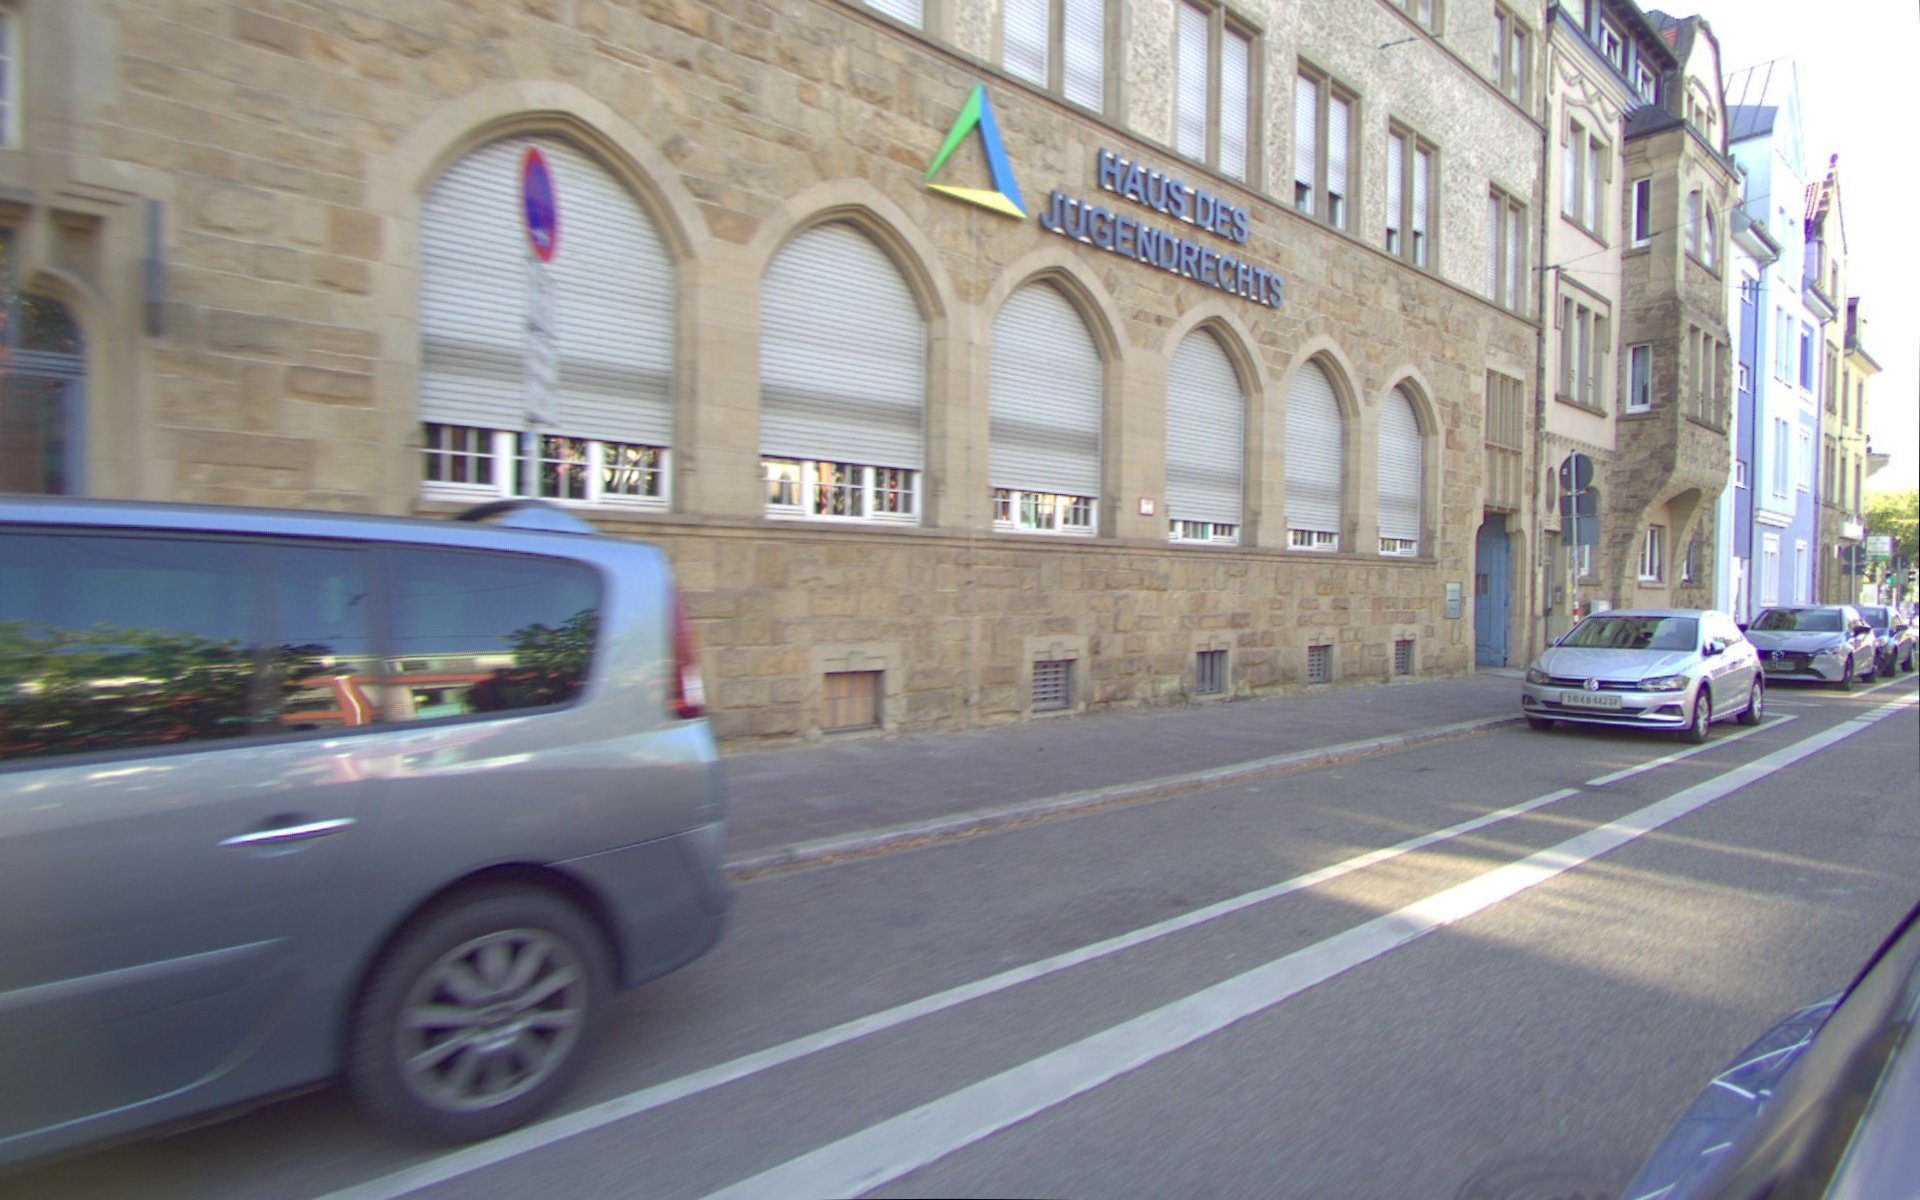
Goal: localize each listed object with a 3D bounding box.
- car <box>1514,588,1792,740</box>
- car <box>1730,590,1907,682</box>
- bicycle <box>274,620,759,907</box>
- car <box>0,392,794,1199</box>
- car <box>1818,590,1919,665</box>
[{"bbox_3d":[8.439,0.640,12.183,4.151,1.520,1.716,0,-1,-40],"label":"car"},{"bbox_3d":[15.978,0.594,18.774,4.120,1.520,1.756,0,-1,-39],"label":"car"},{"bbox_3d":[-2.155,0.710,5.201,2.219,1.154,0.516,0,2,-41],"label":"bicycle"},{"bbox_3d":[-2.901,0.509,2.458,4.730,1.879,1.756,0,0,-40],"label":"car"},{"bbox_3d":[20.244,0.530,22.155,3.930,1.501,1.658,-1,0,-41],"label":"car"}]
